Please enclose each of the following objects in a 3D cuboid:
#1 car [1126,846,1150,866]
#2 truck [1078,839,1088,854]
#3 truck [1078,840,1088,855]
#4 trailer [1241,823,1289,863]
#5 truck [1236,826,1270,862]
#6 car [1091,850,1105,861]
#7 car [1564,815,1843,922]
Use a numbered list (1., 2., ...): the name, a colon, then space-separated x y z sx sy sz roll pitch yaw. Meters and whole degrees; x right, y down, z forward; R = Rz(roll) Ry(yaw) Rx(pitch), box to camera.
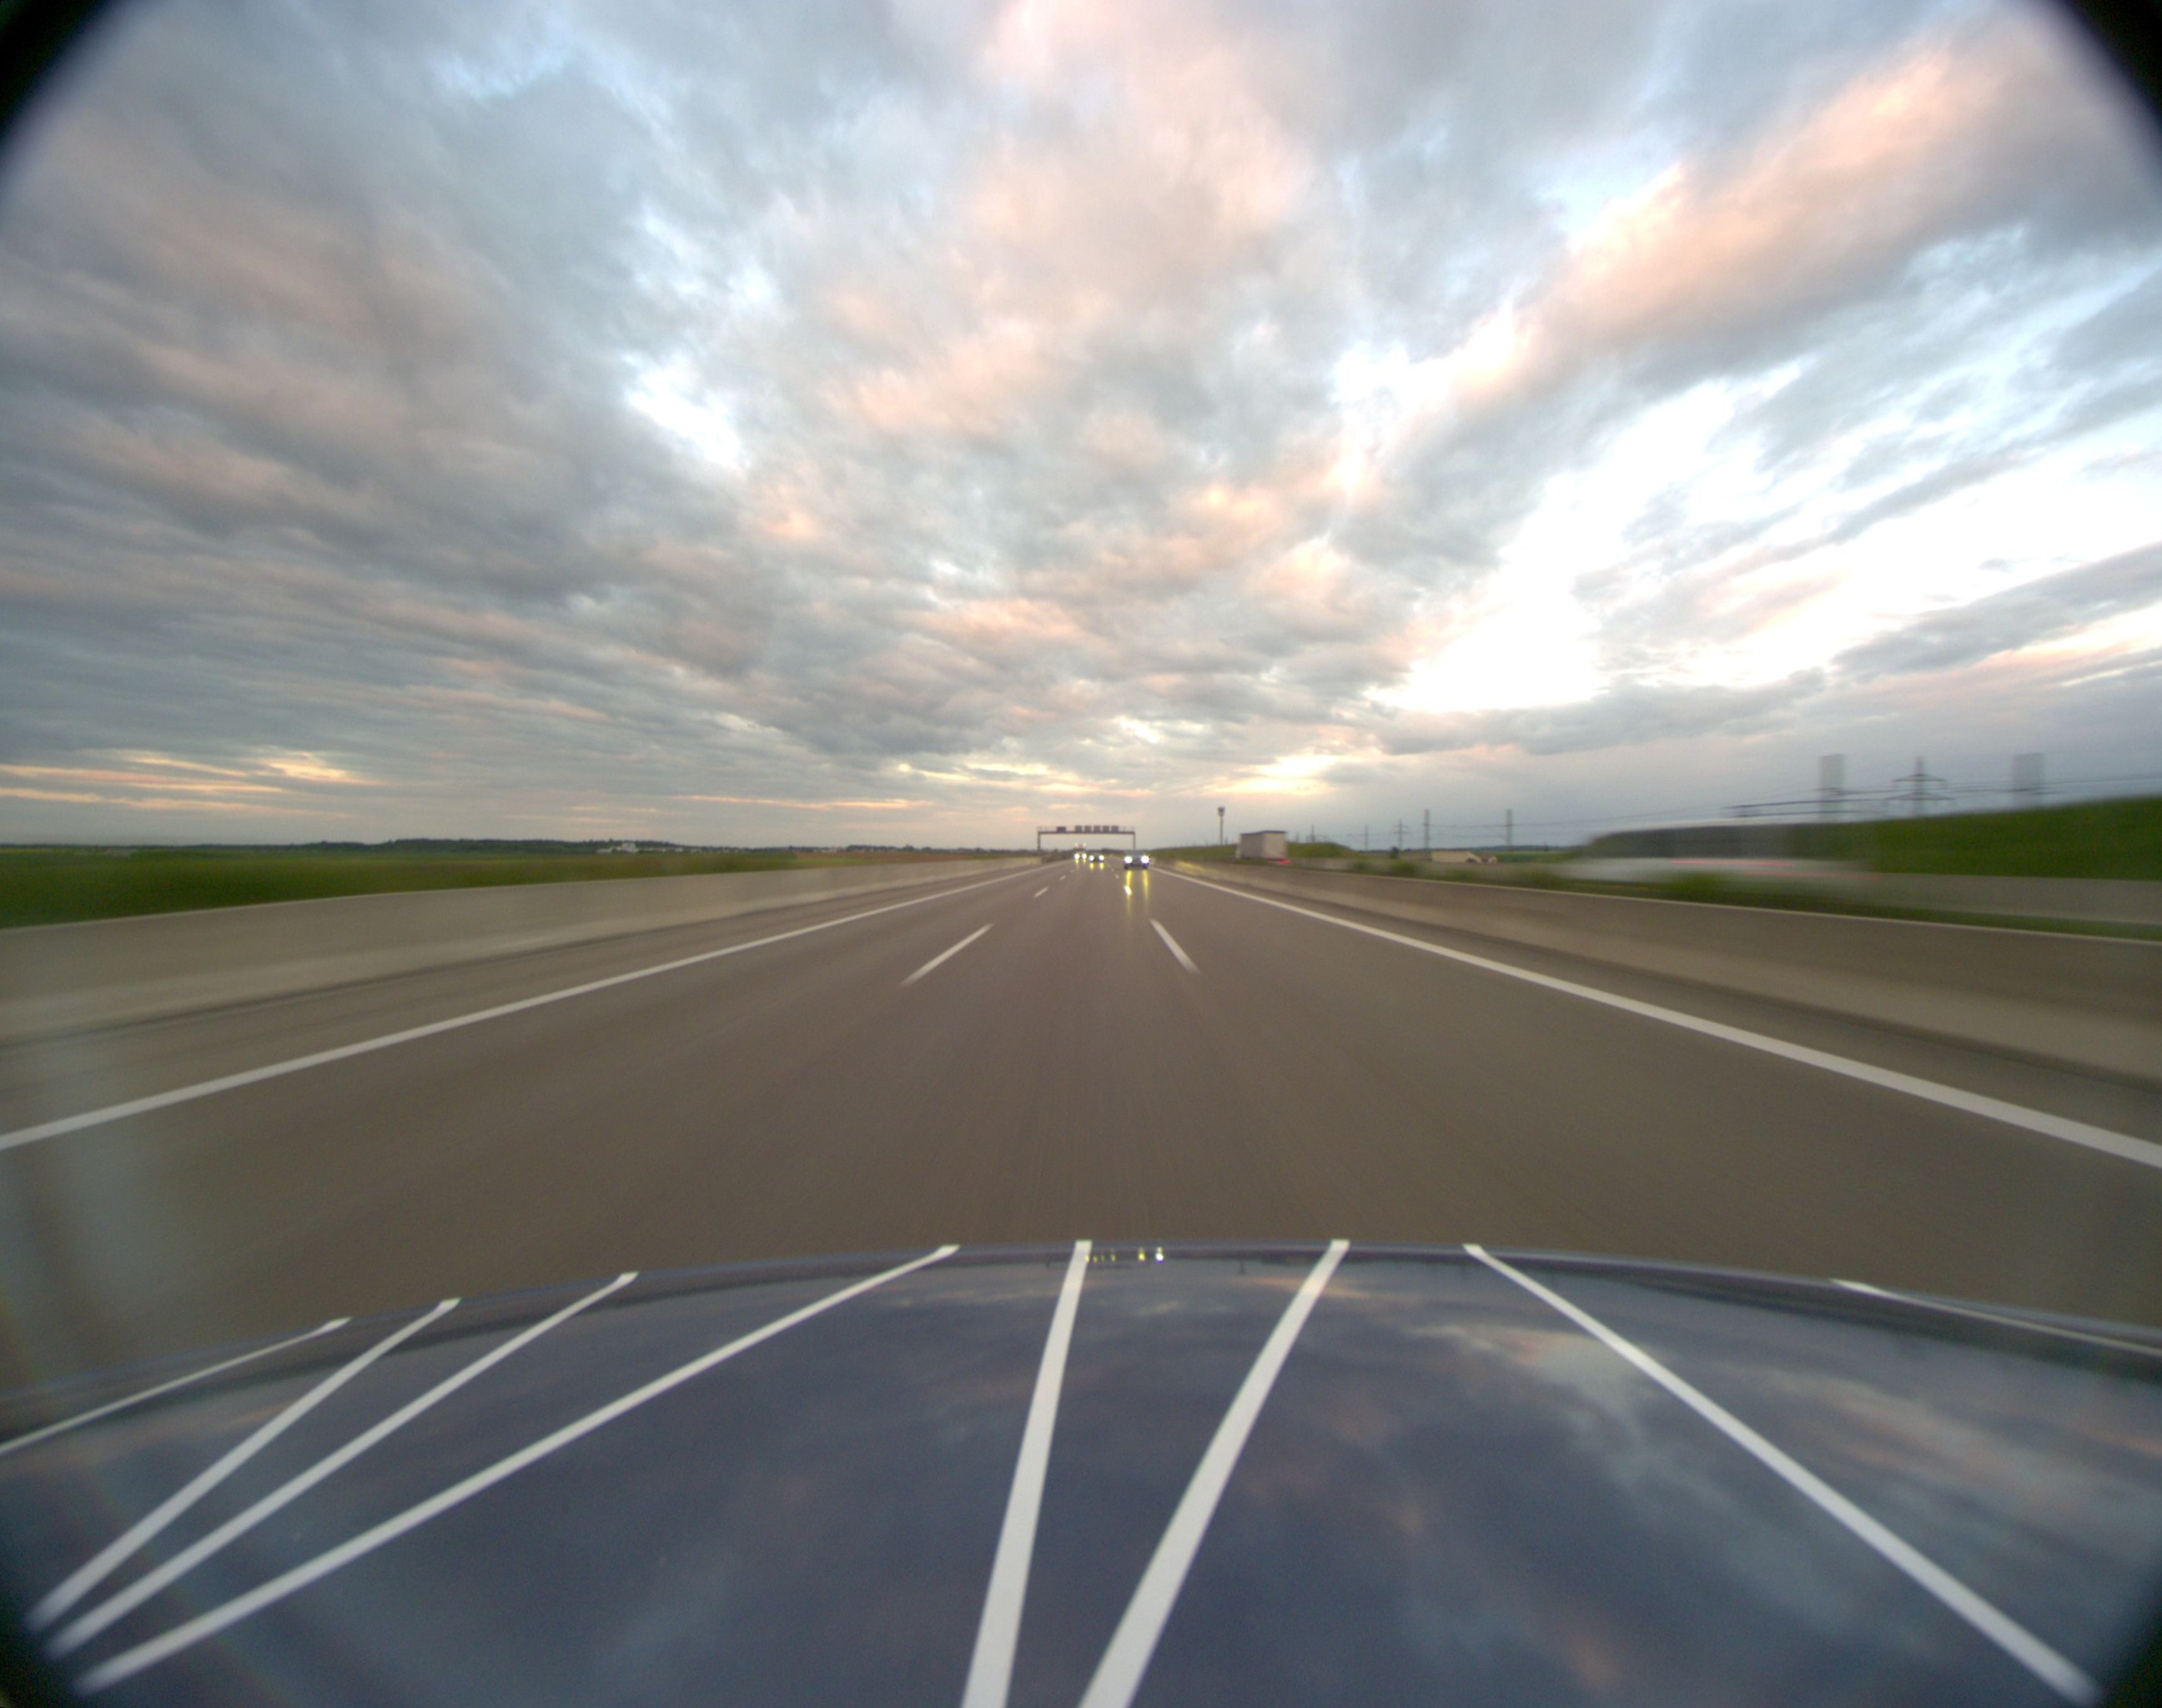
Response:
1. car: 5.091 0.152 68.174 1.998 1.652 4.000 -2 0 2
2. truck: 0.534 -1.901 206.560 2.596 3.999 5.859 -1 0 1
3. truck: 0.646 -1.883 213.224 2.596 3.999 12.986 -1 0 1
4. trailer: 21.544 -1.227 89.717 2.824 4.327 12.839 -2 0 2
5. truck: 21.725 -1.177 96.189 2.824 4.327 6.739 -2 0 2
6. car: 2.591 0.199 116.293 1.998 1.652 4.851 -2 0 2
7. car: 15.805 0.302 20.035 2.133 2.331 6.492 1 1 2
